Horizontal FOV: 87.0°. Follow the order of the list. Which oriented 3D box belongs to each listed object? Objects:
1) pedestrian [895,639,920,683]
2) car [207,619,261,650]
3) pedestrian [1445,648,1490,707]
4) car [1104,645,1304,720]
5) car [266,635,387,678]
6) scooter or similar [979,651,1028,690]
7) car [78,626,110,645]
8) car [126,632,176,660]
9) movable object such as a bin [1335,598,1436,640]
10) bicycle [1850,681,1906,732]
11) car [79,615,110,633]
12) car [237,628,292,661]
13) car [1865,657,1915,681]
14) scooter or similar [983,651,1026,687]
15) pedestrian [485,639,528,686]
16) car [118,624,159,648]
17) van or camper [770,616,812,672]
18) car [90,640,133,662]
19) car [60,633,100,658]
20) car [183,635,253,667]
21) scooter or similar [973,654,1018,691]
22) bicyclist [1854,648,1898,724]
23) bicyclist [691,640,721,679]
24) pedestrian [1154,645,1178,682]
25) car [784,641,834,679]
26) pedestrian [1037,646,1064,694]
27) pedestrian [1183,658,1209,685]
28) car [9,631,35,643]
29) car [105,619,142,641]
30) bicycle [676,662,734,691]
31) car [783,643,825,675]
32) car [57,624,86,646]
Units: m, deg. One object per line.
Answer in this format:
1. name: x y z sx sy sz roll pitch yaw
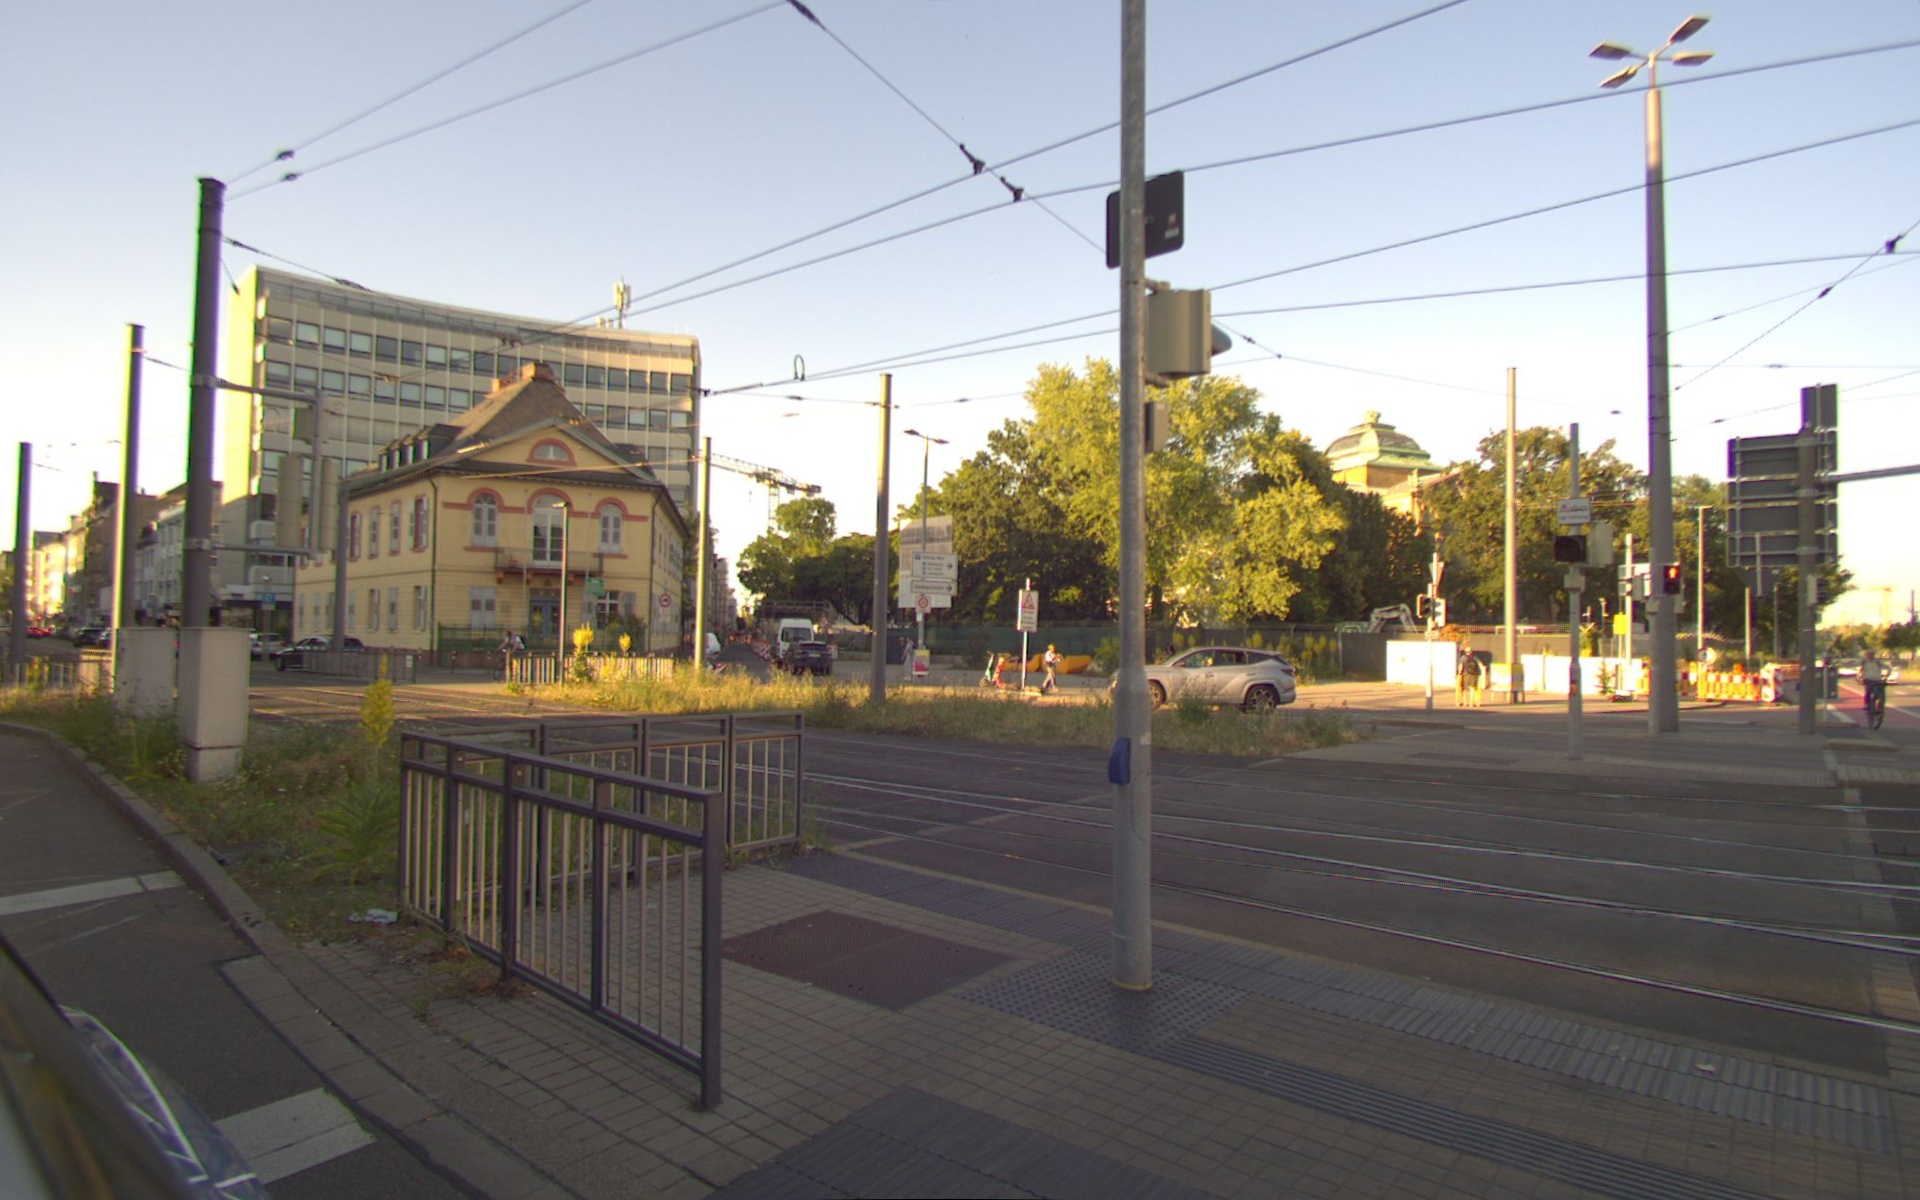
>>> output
1. pedestrian: -2.097 2.432 40.374 0.865 1.737 0.831 2 -3 -8
2. car: -42.265 1.997 58.906 3.805 1.721 1.713 -1 -4 42
3. pedestrian: 15.344 2.331 30.616 0.930 1.749 0.822 1 -2 -1
4. car: 5.865 1.973 24.790 4.479 1.673 1.946 1 -2 5
5. car: -24.935 2.198 39.825 4.390 1.528 1.983 -1 0 25
6. scooter or similar: 1.490 2.412 34.746 1.628 1.302 0.462 1 -2 -4
7. car: -91.485 3.749 106.868 3.998 1.963 1.973 -2 -4 41
8. car: -47.399 2.673 59.281 4.074 1.610 1.813 -2 -3 45
9. movable object such as a bin: 22.198 1.038 53.048 1.965 2.029 5.040 2 -3 -19
10. bicycle: 20.862 2.398 23.032 0.594 1.031 1.827 -1 -3 32
11. car: -96.097 2.655 112.375 3.996 2.029 1.973 -1 -1 40
12. car: -38.170 2.443 55.521 3.439 1.721 1.713 -2 -3 43
13. car: 55.983 4.137 60.879 4.239 1.416 1.918 3 -4 -44
14. scooter or similar: 1.499 2.339 34.281 1.383 1.175 0.462 1 -2 -5
15. pedestrian: -14.853 2.041 33.153 1.028 1.514 1.007 1 -2 -9
16. car: -68.240 3.005 84.054 3.998 1.962 1.973 -1 -3 41
17. van or camper: -9.278 2.410 55.145 2.050 2.796 6.463 2 -3 -11
18. car: -57.823 3.459 68.916 1.988 1.439 4.661 2 -3 -42
19. car: -71.314 3.665 81.979 4.119 2.005 1.972 -1 -3 43
20. car: -34.706 2.360 47.324 4.339 1.421 1.888 -2 -3 44
21. scooter or similar: 1.238 2.535 35.450 1.503 1.269 0.612 1 -3 -4
22. bicyclist: 20.875 1.949 23.067 0.594 1.683 0.740 -1 -3 32
23. bicyclist: -8.418 1.956 33.562 0.723 1.267 0.664 0 -3 20
24. pedestrian: 9.531 2.947 46.813 0.810 1.678 0.765 3 -3 -44
25. car: -6.706 2.621 44.695 1.754 1.555 4.302 2 -3 -14
26. pedestrian: 3.131 2.429 35.061 0.679 1.626 0.597 3 -3 -41
27. pedestrian: 10.520 3.181 45.105 0.976 1.166 0.735 4 -4 -44
28. car: -120.481 4.782 129.976 3.996 1.519 1.825 -1 -3 40
29. car: -77.179 2.736 93.367 3.998 1.962 1.973 -1 -3 41
30. bicycle: -8.465 2.518 33.546 1.783 0.899 0.676 0 -2 20
31. car: -7.634 2.851 49.324 1.706 1.440 4.484 2 -3 -12
32. car: -101.302 3.969 115.379 3.998 2.394 1.973 -1 -3 41
